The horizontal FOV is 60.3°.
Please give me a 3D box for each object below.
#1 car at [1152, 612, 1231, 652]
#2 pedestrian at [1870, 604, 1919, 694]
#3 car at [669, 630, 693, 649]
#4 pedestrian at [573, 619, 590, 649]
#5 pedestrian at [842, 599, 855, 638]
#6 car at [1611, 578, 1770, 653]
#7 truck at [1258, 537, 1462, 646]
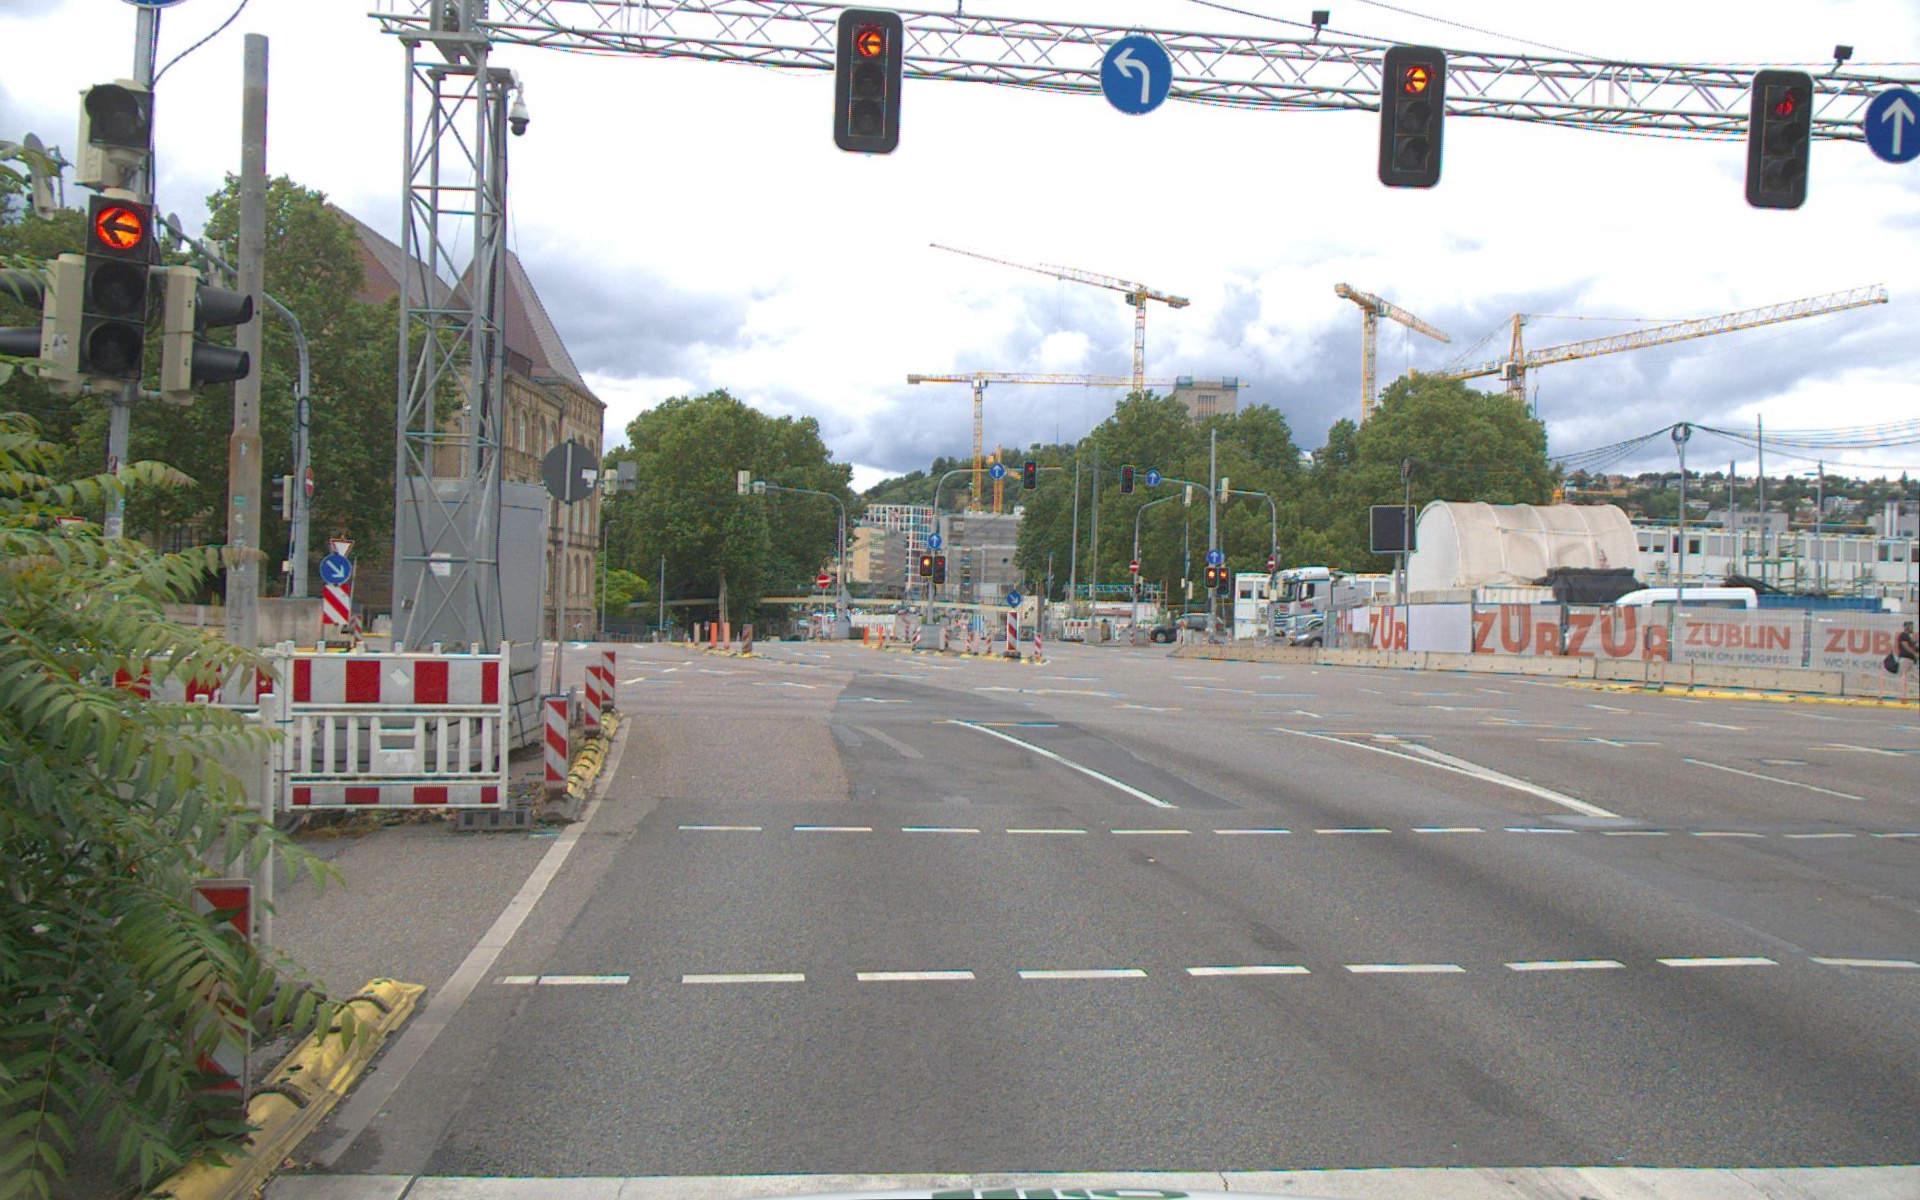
[{"bbox_3d":[12.697,1.730,90.624,3.904,2.049,2.000,1,0,20],"label":"car"},{"bbox_3d":[22.182,1.141,38.865,1.031,2.049,1.024,1,-1,-29],"label":"pedestrian"},{"bbox_3d":[-28.975,4.137,171.939,1.954,1.870,3.997,1,0,-3],"label":"car"},{"bbox_3d":[-26.133,2.369,114.244,0.930,2.049,0.766,1,-1,1],"label":"pedestrian"},{"bbox_3d":[-5.437,0.915,80.699,0.574,1.872,0.604,1,-1,-4],"label":"pedestrian"},{"bbox_3d":[21.055,0.447,47.822,3.902,2.049,2.001,1,0,15],"label":"car"},{"bbox_3d":[19.655,-0.365,81.293,9.565,5.047,3.097,1,-1,-19],"label":"truck"}]
